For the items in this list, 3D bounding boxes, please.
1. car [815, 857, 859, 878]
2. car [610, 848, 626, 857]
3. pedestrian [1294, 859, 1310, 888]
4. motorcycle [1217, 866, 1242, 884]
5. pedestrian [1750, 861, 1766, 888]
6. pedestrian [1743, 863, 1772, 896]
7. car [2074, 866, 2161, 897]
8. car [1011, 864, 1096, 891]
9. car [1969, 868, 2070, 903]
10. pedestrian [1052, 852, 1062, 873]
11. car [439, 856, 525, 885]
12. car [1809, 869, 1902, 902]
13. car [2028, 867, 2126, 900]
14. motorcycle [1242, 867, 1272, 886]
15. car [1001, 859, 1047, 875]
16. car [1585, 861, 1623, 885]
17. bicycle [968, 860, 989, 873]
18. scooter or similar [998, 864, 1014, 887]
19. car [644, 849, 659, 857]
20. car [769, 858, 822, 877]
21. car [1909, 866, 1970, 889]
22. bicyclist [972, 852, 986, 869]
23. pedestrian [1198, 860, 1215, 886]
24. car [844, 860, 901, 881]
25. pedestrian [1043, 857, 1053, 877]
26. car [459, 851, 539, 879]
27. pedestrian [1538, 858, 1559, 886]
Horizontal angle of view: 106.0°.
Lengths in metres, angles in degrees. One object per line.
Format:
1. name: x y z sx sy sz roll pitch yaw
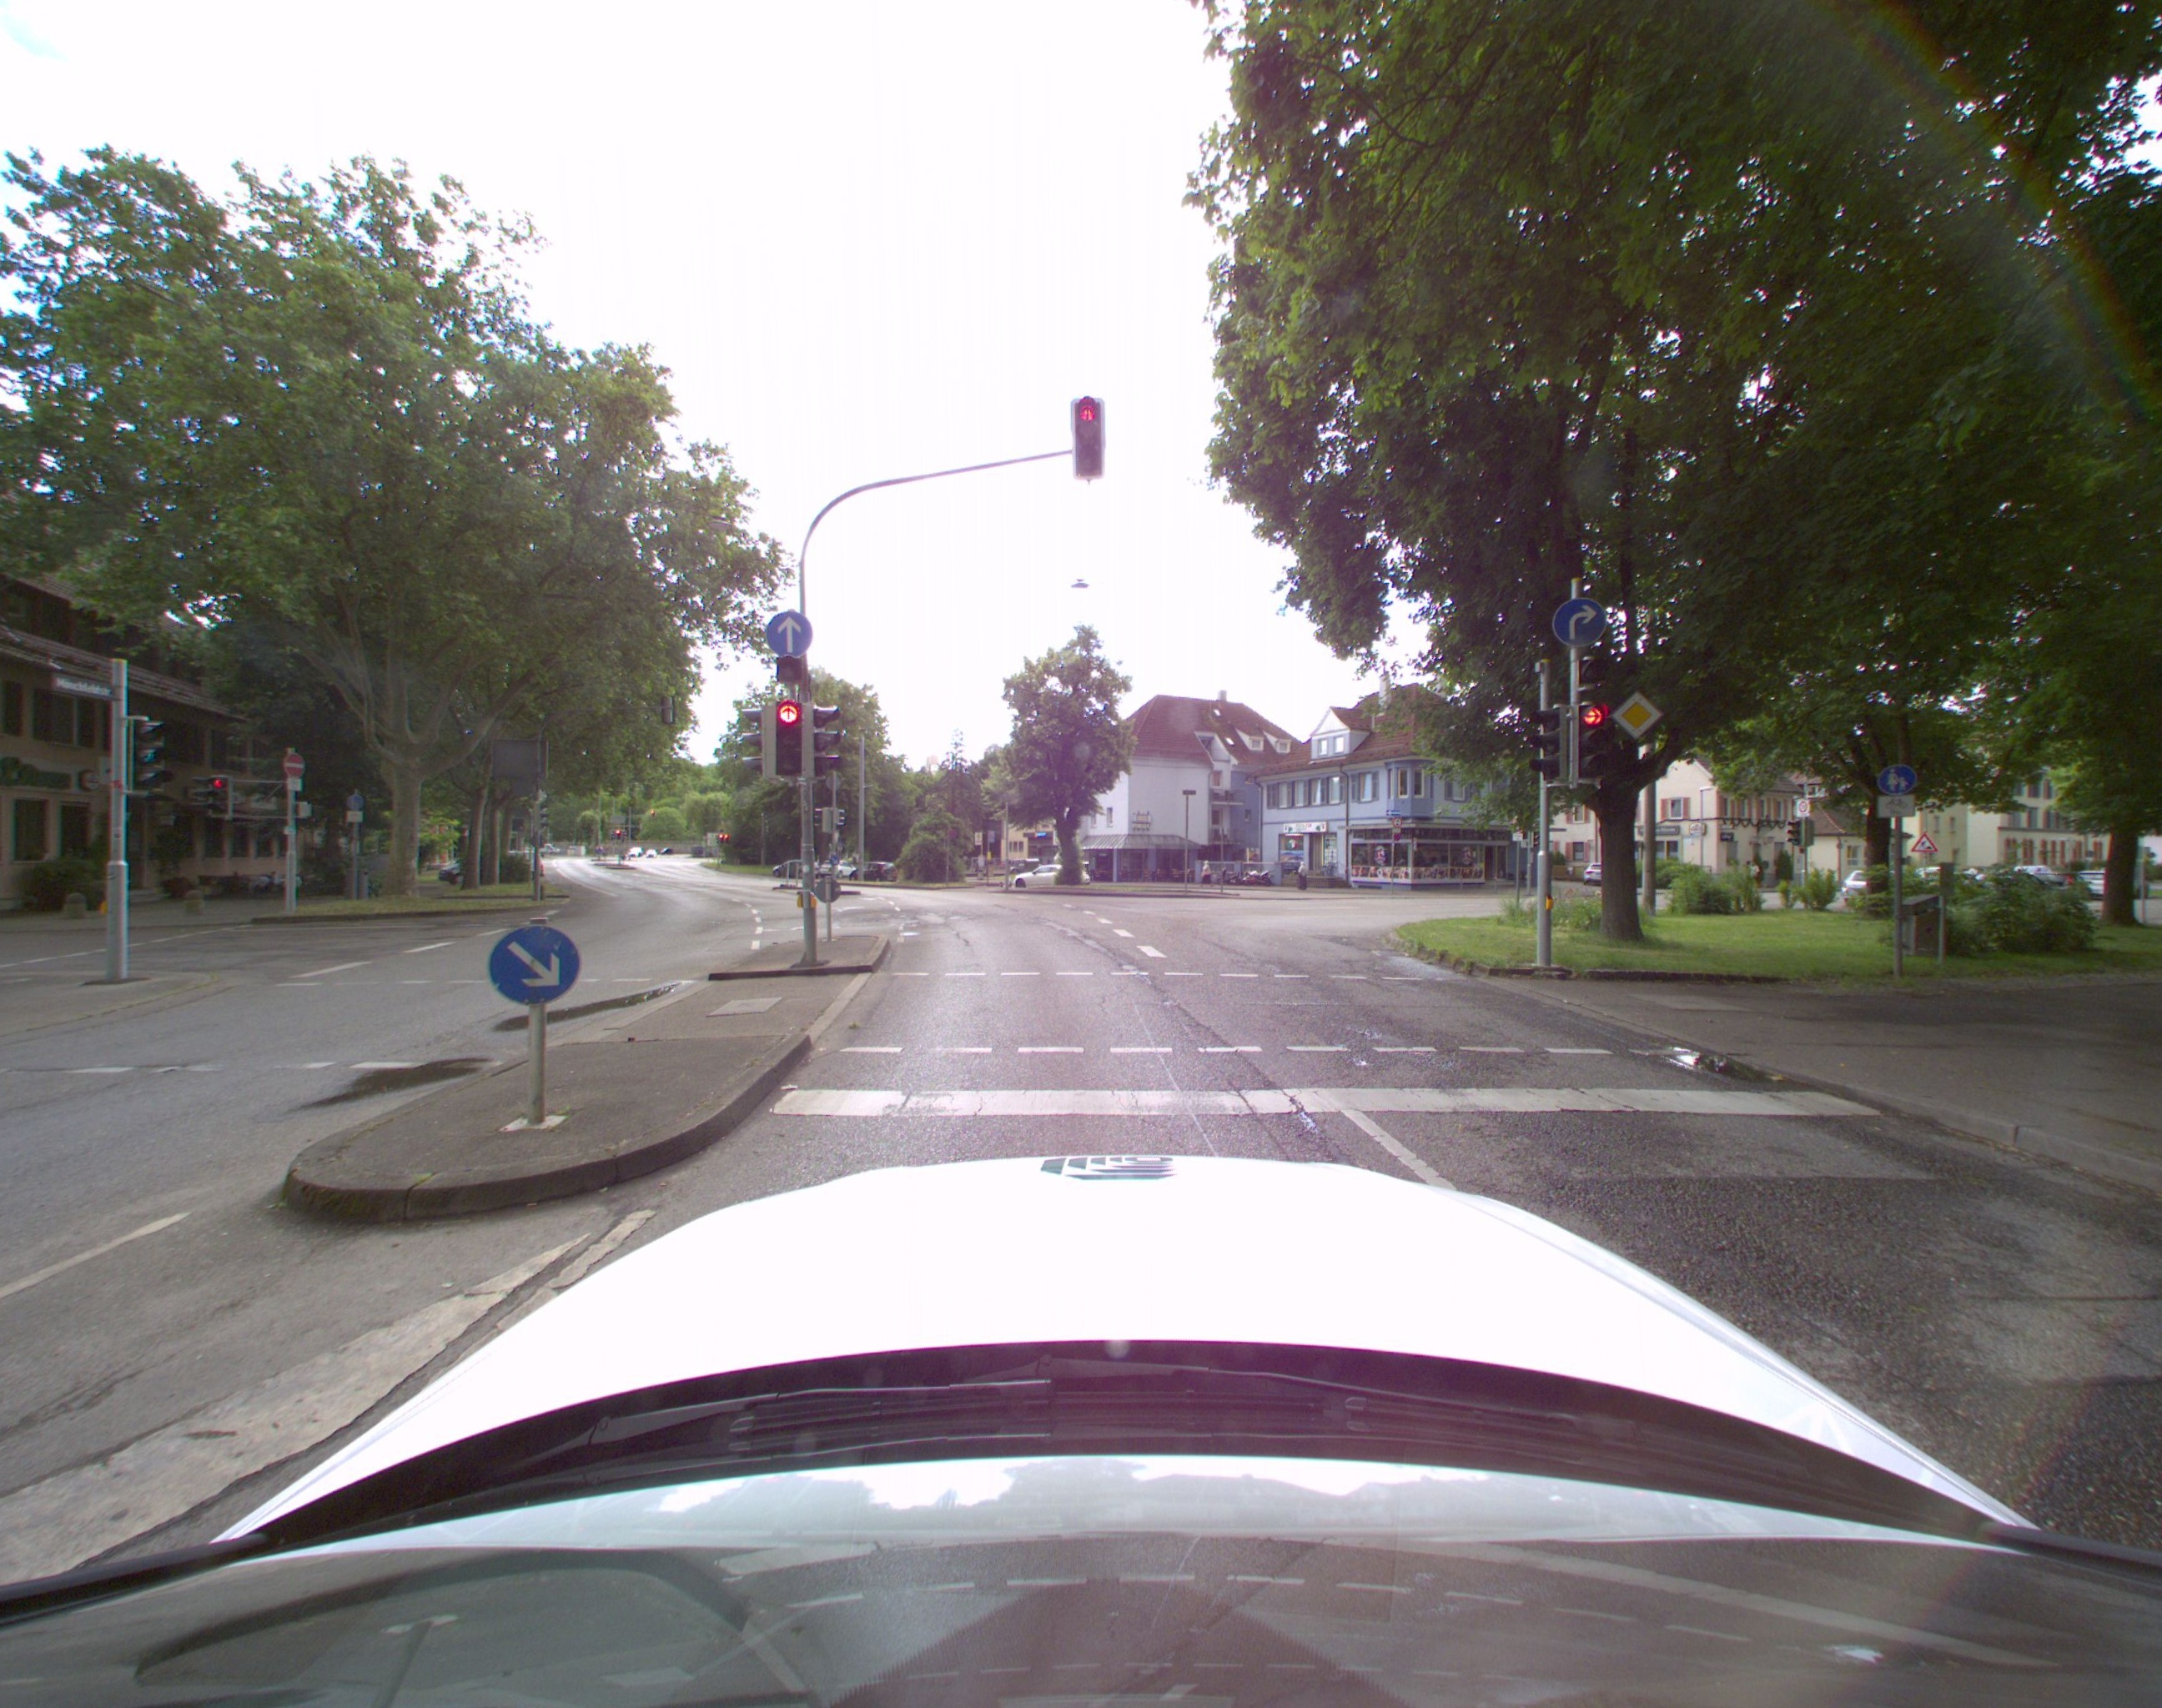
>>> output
1. car: -20.134 1.091 67.405 1.848 1.640 3.768 0 0 13
2. car: -86.995 -0.299 152.967 3.293 1.486 1.594 -1 -2 43
3. pedestrian: 12.224 1.076 45.014 0.687 1.560 0.671 -1 -1 33
4. motorcycle: 9.135 1.311 50.045 1.441 1.088 0.527 -1 -1 37
5. pedestrian: 38.921 1.189 46.830 0.504 1.560 0.507 0 -1 -13
6. pedestrian: 22.095 0.822 26.607 0.505 1.081 0.514 0 -1 -13
7. car: 52.596 1.371 41.251 3.731 1.457 1.640 0 0 -17
8. car: -1.594 1.289 45.930 4.654 1.410 1.914 0 -1 37
9. car: 42.346 1.380 36.750 3.731 1.457 1.640 0 0 -17
10. pedestrian: -1.758 0.619 59.422 0.538 1.560 0.470 -1 -1 15
11. car: -35.629 0.960 48.605 4.015 1.684 1.979 0 -1 -34
12. car: 31.796 1.275 33.451 3.007 1.267 1.455 0 -1 -17
13. car: 47.080 1.371 38.513 3.731 1.457 1.640 0 0 -17
14. motorcycle: 10.428 1.321 48.242 1.609 1.088 0.631 -1 -1 34
15. car: -5.319 1.240 75.915 3.948 1.442 1.742 0 -1 -18
16. car: 32.459 1.143 50.617 1.866 1.391 3.637 0 0 31
17. bicycle: -9.931 1.204 78.965 0.865 1.149 1.965 -1 -1 41
18. scooter or similar: -3.952 1.142 42.843 0.439 1.175 1.442 -1 -1 11
19. car: -83.076 -0.185 157.527 2.988 1.417 1.509 -1 -2 42
20. car: -22.589 1.033 64.514 3.742 1.465 1.629 0 0 20
21. car: 55.518 1.486 52.649 3.871 1.447 1.753 0 -1 -28
22. bicyclist: -9.914 0.664 78.977 0.906 1.651 0.994 -1 -1 42
23. pedestrian: 7.573 1.128 49.231 0.724 1.560 0.773 -1 -1 33
24. car: -13.826 1.059 53.999 3.285 1.352 1.791 0 0 29
25. pedestrian: -3.251 1.306 81.190 0.838 2.014 1.051 0 -1 -12
26. car: -36.459 0.685 51.174 4.015 1.684 1.979 0 -1 -34
27. pedestrian: 26.419 0.995 46.018 0.671 1.560 0.743 0 -1 -13
